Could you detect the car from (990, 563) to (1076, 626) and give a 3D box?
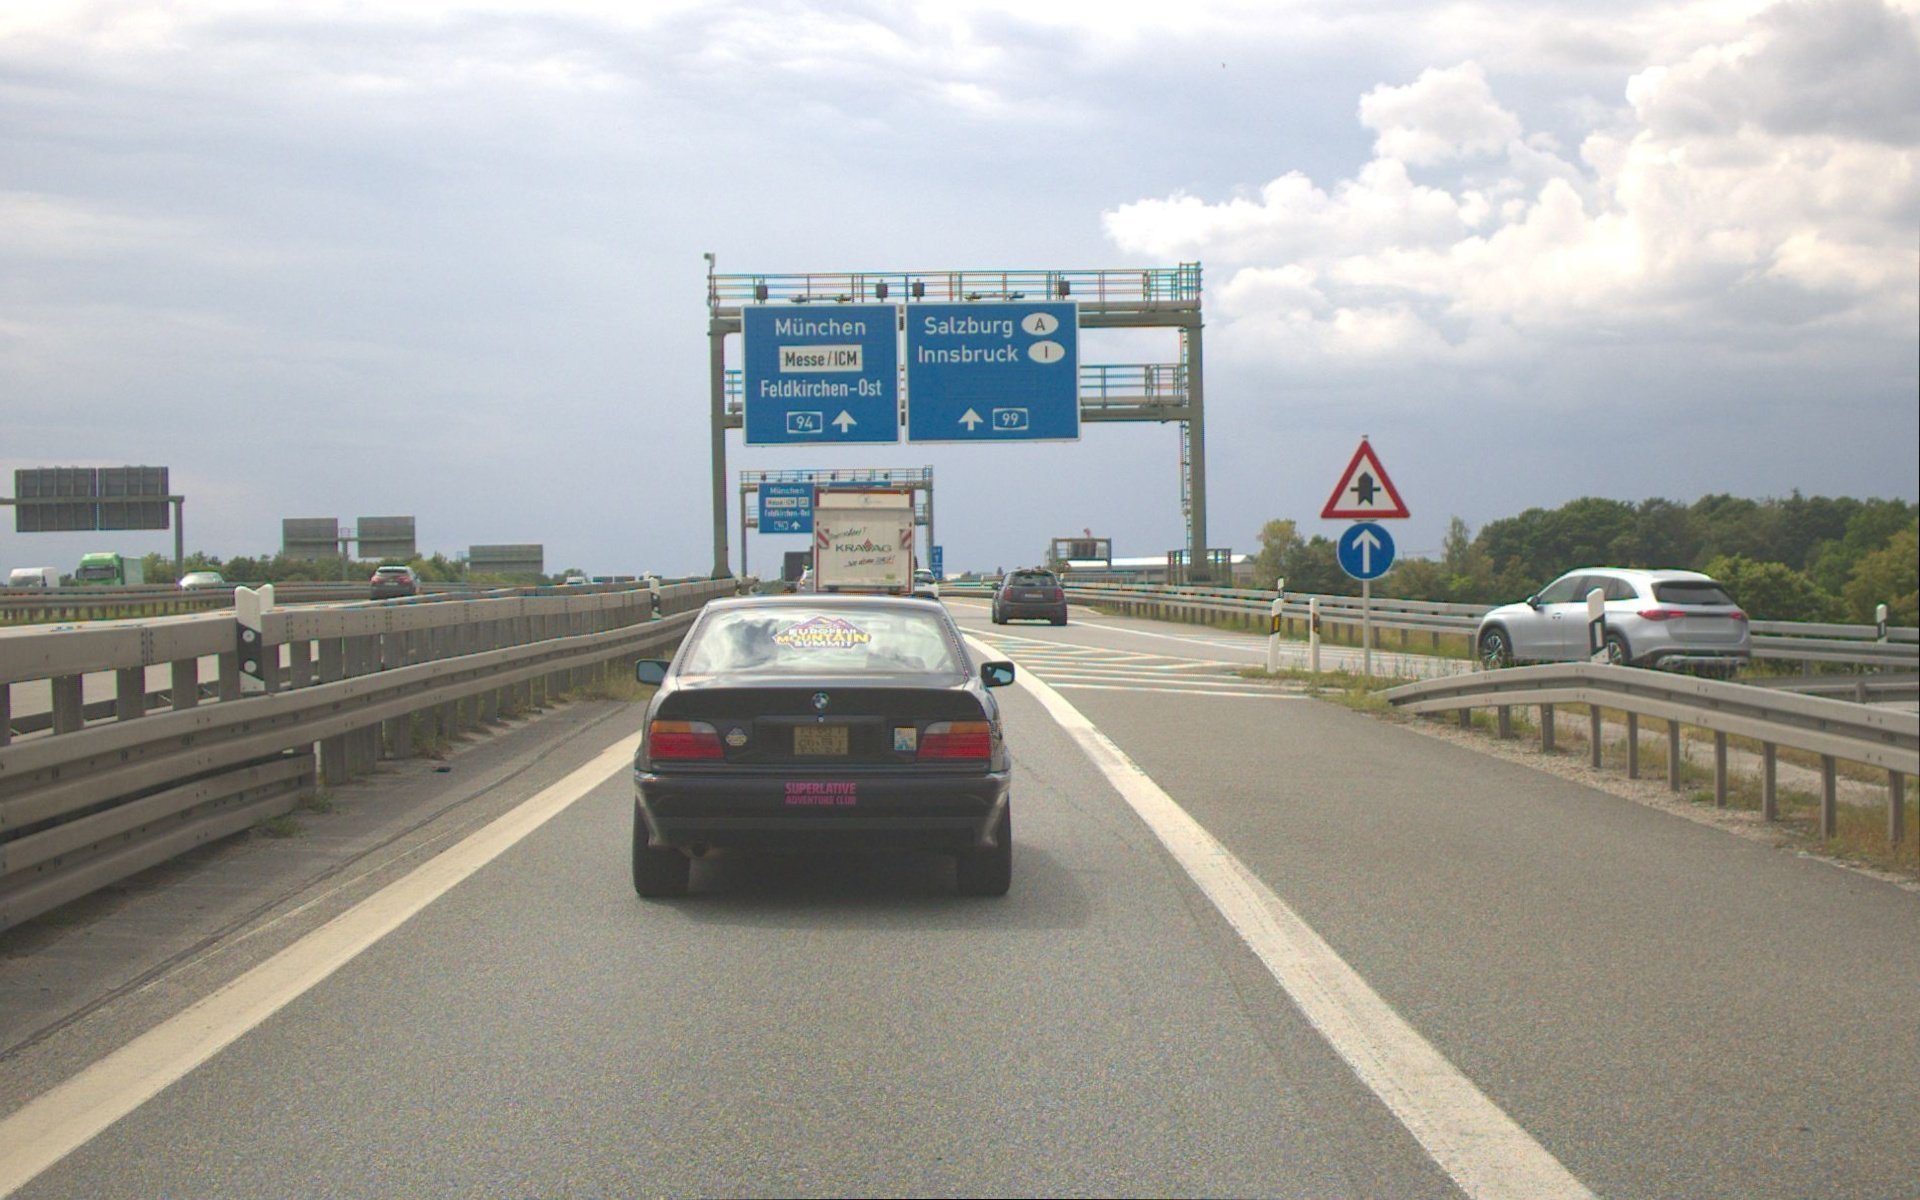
[{"bbox_3d":[1.832,-0.154,87.615,1.993,1.547,4.000,1,0,-1],"label":"car"}]

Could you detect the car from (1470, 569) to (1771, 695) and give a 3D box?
[{"bbox_3d":[9.147,0.405,47.905,1.936,1.679,4.209,0,0,-27],"label":"car"}]

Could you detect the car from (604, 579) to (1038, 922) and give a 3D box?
[{"bbox_3d":[-0.574,0.611,16.267,1.782,1.373,4.137,0,1,0],"label":"car"}]

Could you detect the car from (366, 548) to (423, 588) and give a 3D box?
[{"bbox_3d":[-23.377,-1.337,142.233,1.892,1.592,4.418,0,1,-4],"label":"car"}]

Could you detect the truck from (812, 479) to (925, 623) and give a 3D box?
[{"bbox_3d":[-2.073,-1.103,77.214,2.404,3.079,6.371,0,1,-2],"label":"truck"}]
